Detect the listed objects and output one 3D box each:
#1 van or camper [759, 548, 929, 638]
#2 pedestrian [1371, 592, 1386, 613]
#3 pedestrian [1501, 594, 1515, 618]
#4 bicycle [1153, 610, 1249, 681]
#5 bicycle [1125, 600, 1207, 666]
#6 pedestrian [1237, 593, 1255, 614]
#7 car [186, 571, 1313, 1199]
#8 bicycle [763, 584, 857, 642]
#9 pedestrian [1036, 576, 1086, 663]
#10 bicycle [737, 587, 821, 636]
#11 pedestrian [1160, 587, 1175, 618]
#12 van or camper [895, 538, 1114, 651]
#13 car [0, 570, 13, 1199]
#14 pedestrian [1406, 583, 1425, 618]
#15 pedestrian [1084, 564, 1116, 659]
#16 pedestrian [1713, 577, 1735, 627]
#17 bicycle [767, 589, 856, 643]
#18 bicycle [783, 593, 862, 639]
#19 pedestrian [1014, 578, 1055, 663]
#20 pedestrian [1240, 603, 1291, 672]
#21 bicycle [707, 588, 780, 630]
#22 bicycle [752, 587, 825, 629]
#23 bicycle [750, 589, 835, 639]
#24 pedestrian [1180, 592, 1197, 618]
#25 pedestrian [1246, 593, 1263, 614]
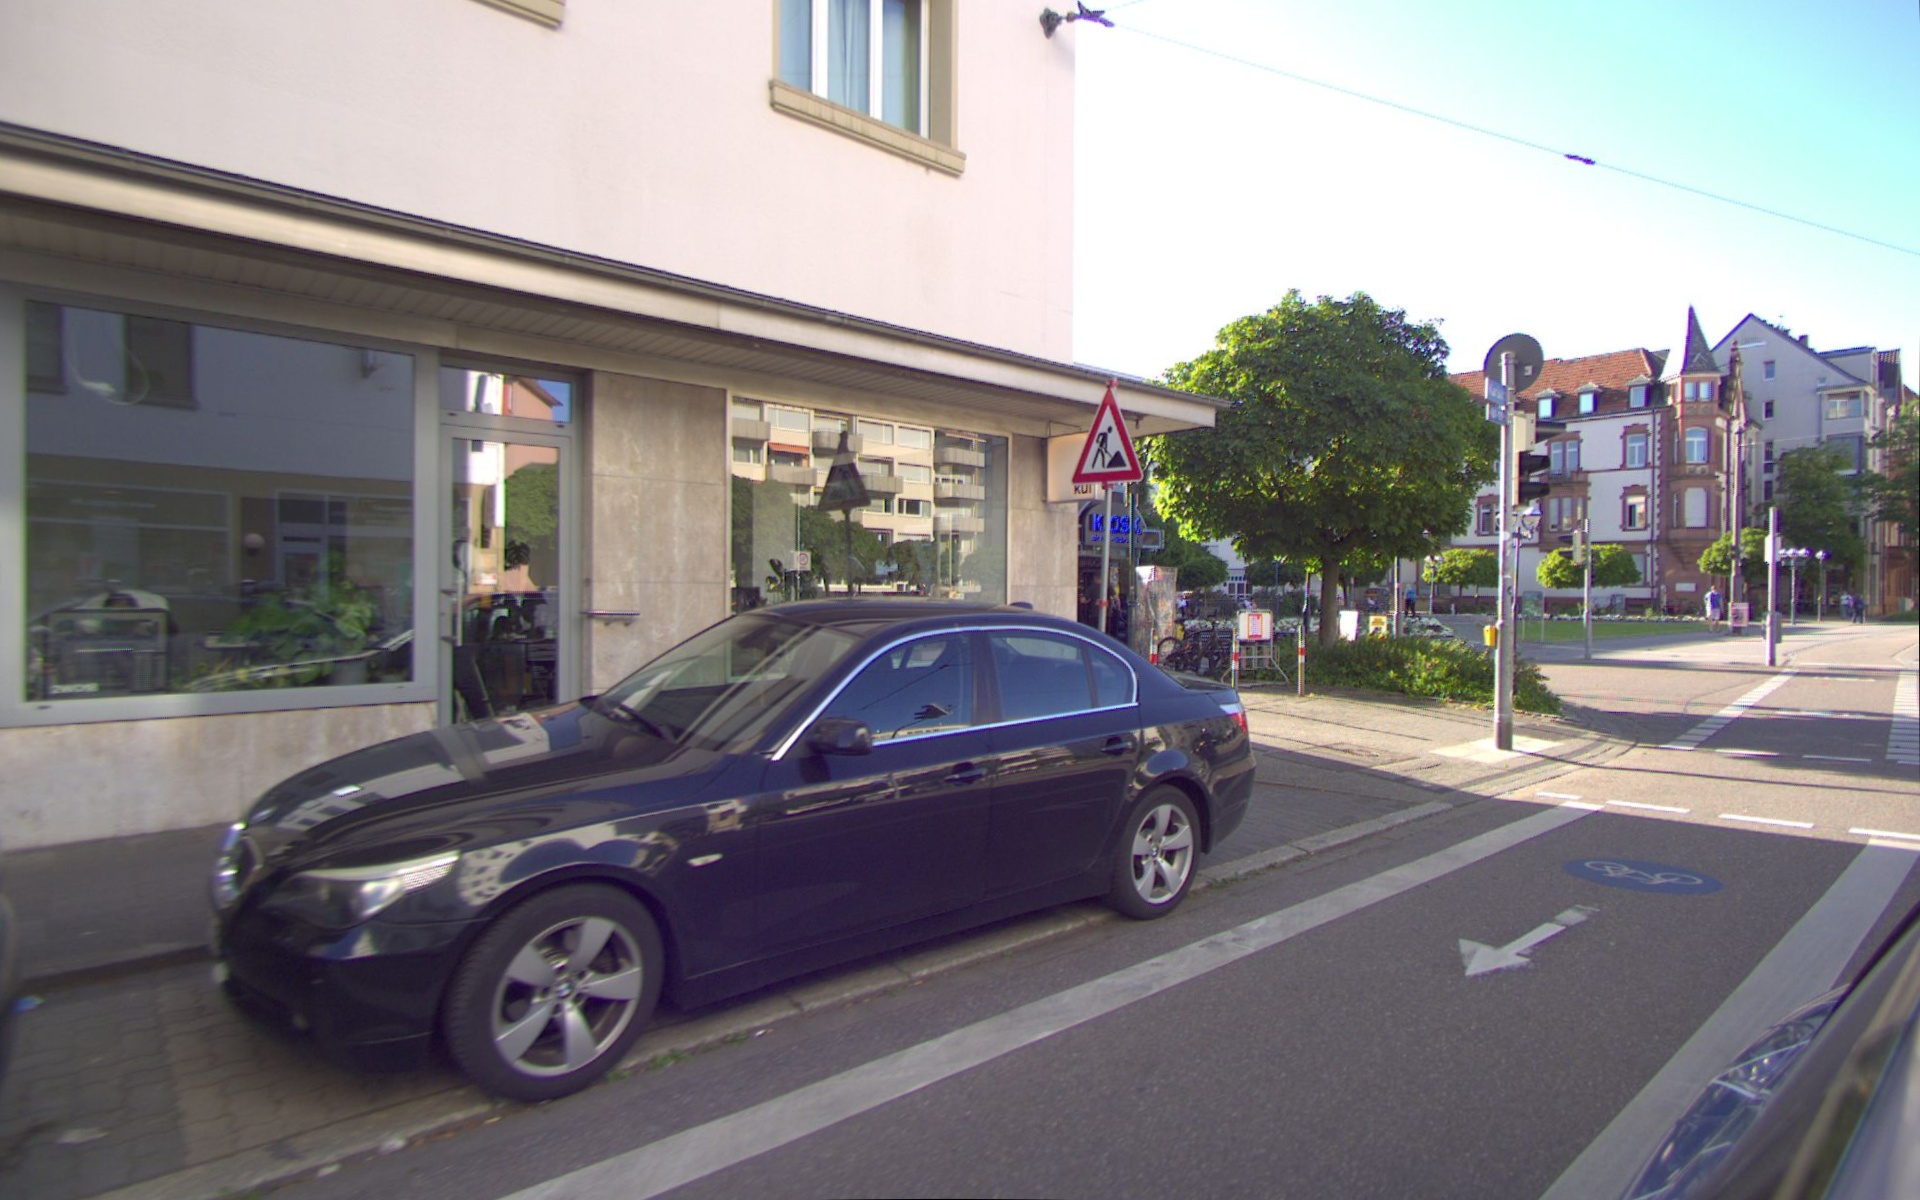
[{"bbox_3d":[-4.262,-0.261,35.795,2.869,2.849,6.930,0,1,-38],"label":"van or camper"},{"bbox_3d":[27.114,0.165,65.516,0.668,1.308,0.709,0,0,-43],"label":"pedestrian"},{"bbox_3d":[25.304,0.272,46.722,0.445,1.096,0.449,0,0,10],"label":"pedestrian"},{"bbox_3d":[3.683,0.674,15.578,0.352,0.997,1.669,0,0,-32],"label":"bicycle"},{"bbox_3d":[4.744,0.736,23.453,0.544,1.441,2.075,0,0,-34],"label":"bicycle"},{"bbox_3d":[15.705,0.197,55.514,0.765,1.165,0.628,0,0,41],"label":"pedestrian"},{"bbox_3d":[-0.503,0.680,4.665,4.831,1.526,1.753,-1,3,-40],"label":"car"},{"bbox_3d":[-3.301,0.297,22.399,1.997,1.233,0.661,2,-1,-41],"label":"bicycle"},{"bbox_3d":[1.918,0.358,19.300,0.731,1.623,0.615,0,0,-40],"label":"pedestrian"},{"bbox_3d":[-4.474,0.266,25.062,1.998,1.165,0.661,0,0,-41],"label":"bicycle"},{"bbox_3d":[10.326,0.124,50.385,0.558,1.563,0.547,0,0,39],"label":"pedestrian"},{"bbox_3d":[1.062,-0.172,28.837,2.180,2.849,6.926,0,1,-39],"label":"van or camper"},{"bbox_3d":[-4.124,0.738,1.144,4.431,1.526,1.860,-1,3,-43],"label":"car"},{"bbox_3d":[20.897,0.024,46.437,0.640,1.622,0.699,0,0,14],"label":"pedestrian"},{"bbox_3d":[2.712,0.221,19.654,0.545,1.811,0.539,0,0,16],"label":"pedestrian"},{"bbox_3d":[30.804,0.080,40.800,0.645,1.980,0.577,0,0,33],"label":"pedestrian"},{"bbox_3d":[-3.472,0.387,23.839,1.997,1.233,0.661,2,-1,-41],"label":"bicycle"},{"bbox_3d":[-3.624,0.428,26.795,1.997,1.165,0.661,2,-1,-41],"label":"bicycle"},{"bbox_3d":[1.457,0.381,19.752,0.581,1.623,0.552,0,0,-40],"label":"pedestrian"},{"bbox_3d":[5.646,0.674,18.720,0.540,1.228,0.735,0,0,-33],"label":"pedestrian"},{"bbox_3d":[-6.348,0.274,29.783,1.997,1.165,0.661,2,-1,-41],"label":"bicycle"},{"bbox_3d":[-4.833,0.206,28.664,1.998,1.165,0.661,0,0,-41],"label":"bicycle"},{"bbox_3d":[-4.034,0.316,24.479,1.998,1.165,0.661,0,0,-41],"label":"bicycle"},{"bbox_3d":[11.605,0.239,51.379,0.558,1.290,0.691,0,0,39],"label":"pedestrian"},{"bbox_3d":[16.339,0.196,56.088,0.714,1.165,0.628,0,0,41],"label":"pedestrian"}]
